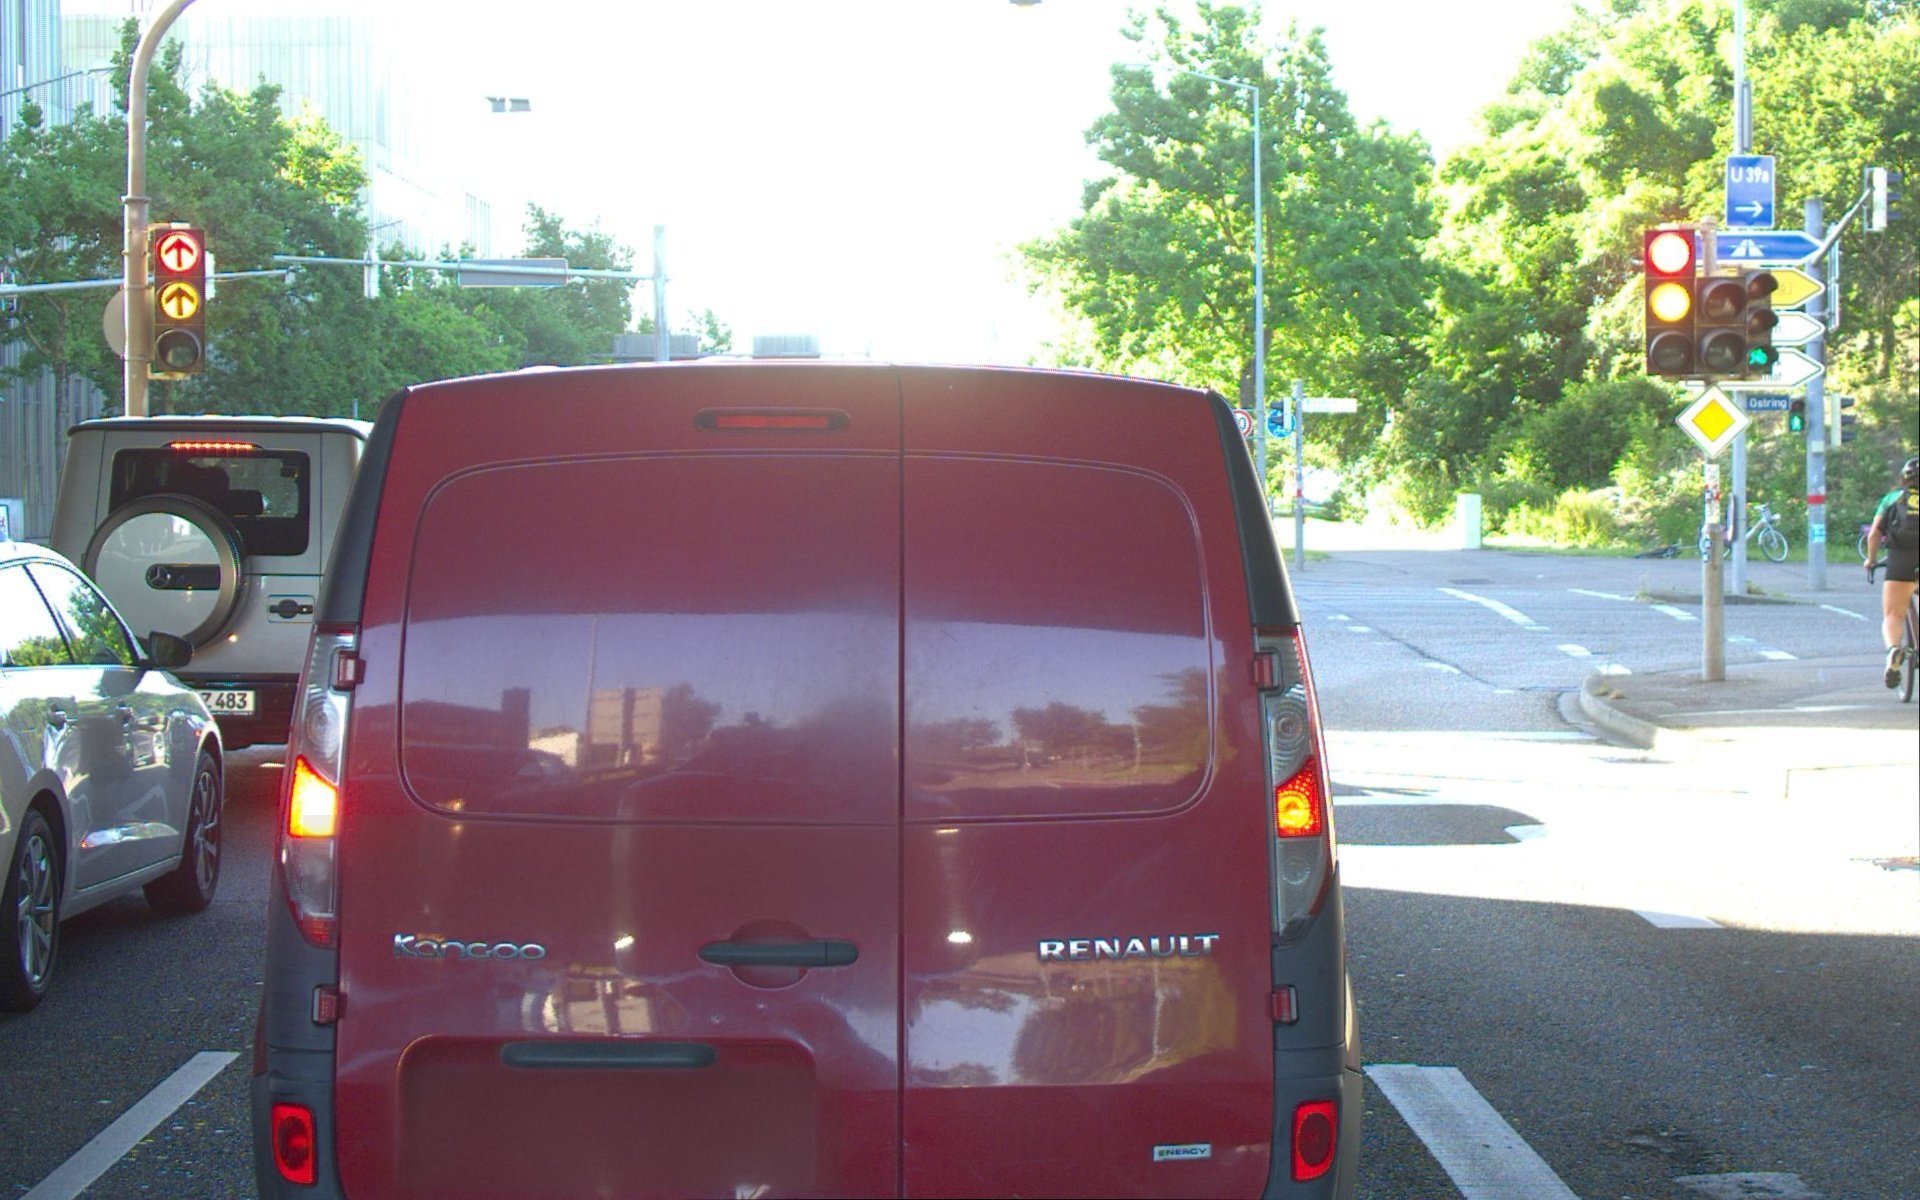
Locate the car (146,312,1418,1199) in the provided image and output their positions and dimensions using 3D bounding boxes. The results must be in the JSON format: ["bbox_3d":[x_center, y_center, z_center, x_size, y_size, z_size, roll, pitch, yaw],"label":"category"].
[{"bbox_3d":[-0.281,0.475,6.927,1.805,1.788,4.000,1,1,-1],"label":"car"}]

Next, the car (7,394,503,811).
[{"bbox_3d":[-3.694,-0.011,18.826,1.801,1.982,4.589,1,1,-1],"label":"car"}]

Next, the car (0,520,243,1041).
[{"bbox_3d":[-3.647,0.468,11.410,1.813,1.433,3.731,0,2,-1],"label":"car"}]

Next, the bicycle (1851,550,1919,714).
[{"bbox_3d":[6.272,0.195,22.221,0.592,1.020,1.750,1,1,1],"label":"bicycle"}]

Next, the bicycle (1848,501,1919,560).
[{"bbox_3d":[16.662,-1.223,60.916,1.745,1.020,0.593,1,0,9],"label":"bicycle"}]

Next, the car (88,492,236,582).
[{"bbox_3d":[-16.570,-1.343,71.626,1.825,1.731,4.629,-2,2,1],"label":"car"}]

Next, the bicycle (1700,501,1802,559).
[{"bbox_3d":[14.353,-1.270,62.378,1.745,1.020,0.593,1,0,9],"label":"bicycle"}]

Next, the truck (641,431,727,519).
[{"bbox_3d":[-9.957,-4.496,124.521,2.409,3.016,6.657,-2,2,0],"label":"truck"}]

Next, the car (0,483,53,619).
[{"bbox_3d":[-11.648,-0.513,36.231,1.694,1.443,3.749,1,1,41],"label":"car"}]

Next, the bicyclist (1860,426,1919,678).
[{"bbox_3d":[6.294,-0.306,22.434,0.592,1.608,0.942,1,0,1],"label":"bicyclist"}]
